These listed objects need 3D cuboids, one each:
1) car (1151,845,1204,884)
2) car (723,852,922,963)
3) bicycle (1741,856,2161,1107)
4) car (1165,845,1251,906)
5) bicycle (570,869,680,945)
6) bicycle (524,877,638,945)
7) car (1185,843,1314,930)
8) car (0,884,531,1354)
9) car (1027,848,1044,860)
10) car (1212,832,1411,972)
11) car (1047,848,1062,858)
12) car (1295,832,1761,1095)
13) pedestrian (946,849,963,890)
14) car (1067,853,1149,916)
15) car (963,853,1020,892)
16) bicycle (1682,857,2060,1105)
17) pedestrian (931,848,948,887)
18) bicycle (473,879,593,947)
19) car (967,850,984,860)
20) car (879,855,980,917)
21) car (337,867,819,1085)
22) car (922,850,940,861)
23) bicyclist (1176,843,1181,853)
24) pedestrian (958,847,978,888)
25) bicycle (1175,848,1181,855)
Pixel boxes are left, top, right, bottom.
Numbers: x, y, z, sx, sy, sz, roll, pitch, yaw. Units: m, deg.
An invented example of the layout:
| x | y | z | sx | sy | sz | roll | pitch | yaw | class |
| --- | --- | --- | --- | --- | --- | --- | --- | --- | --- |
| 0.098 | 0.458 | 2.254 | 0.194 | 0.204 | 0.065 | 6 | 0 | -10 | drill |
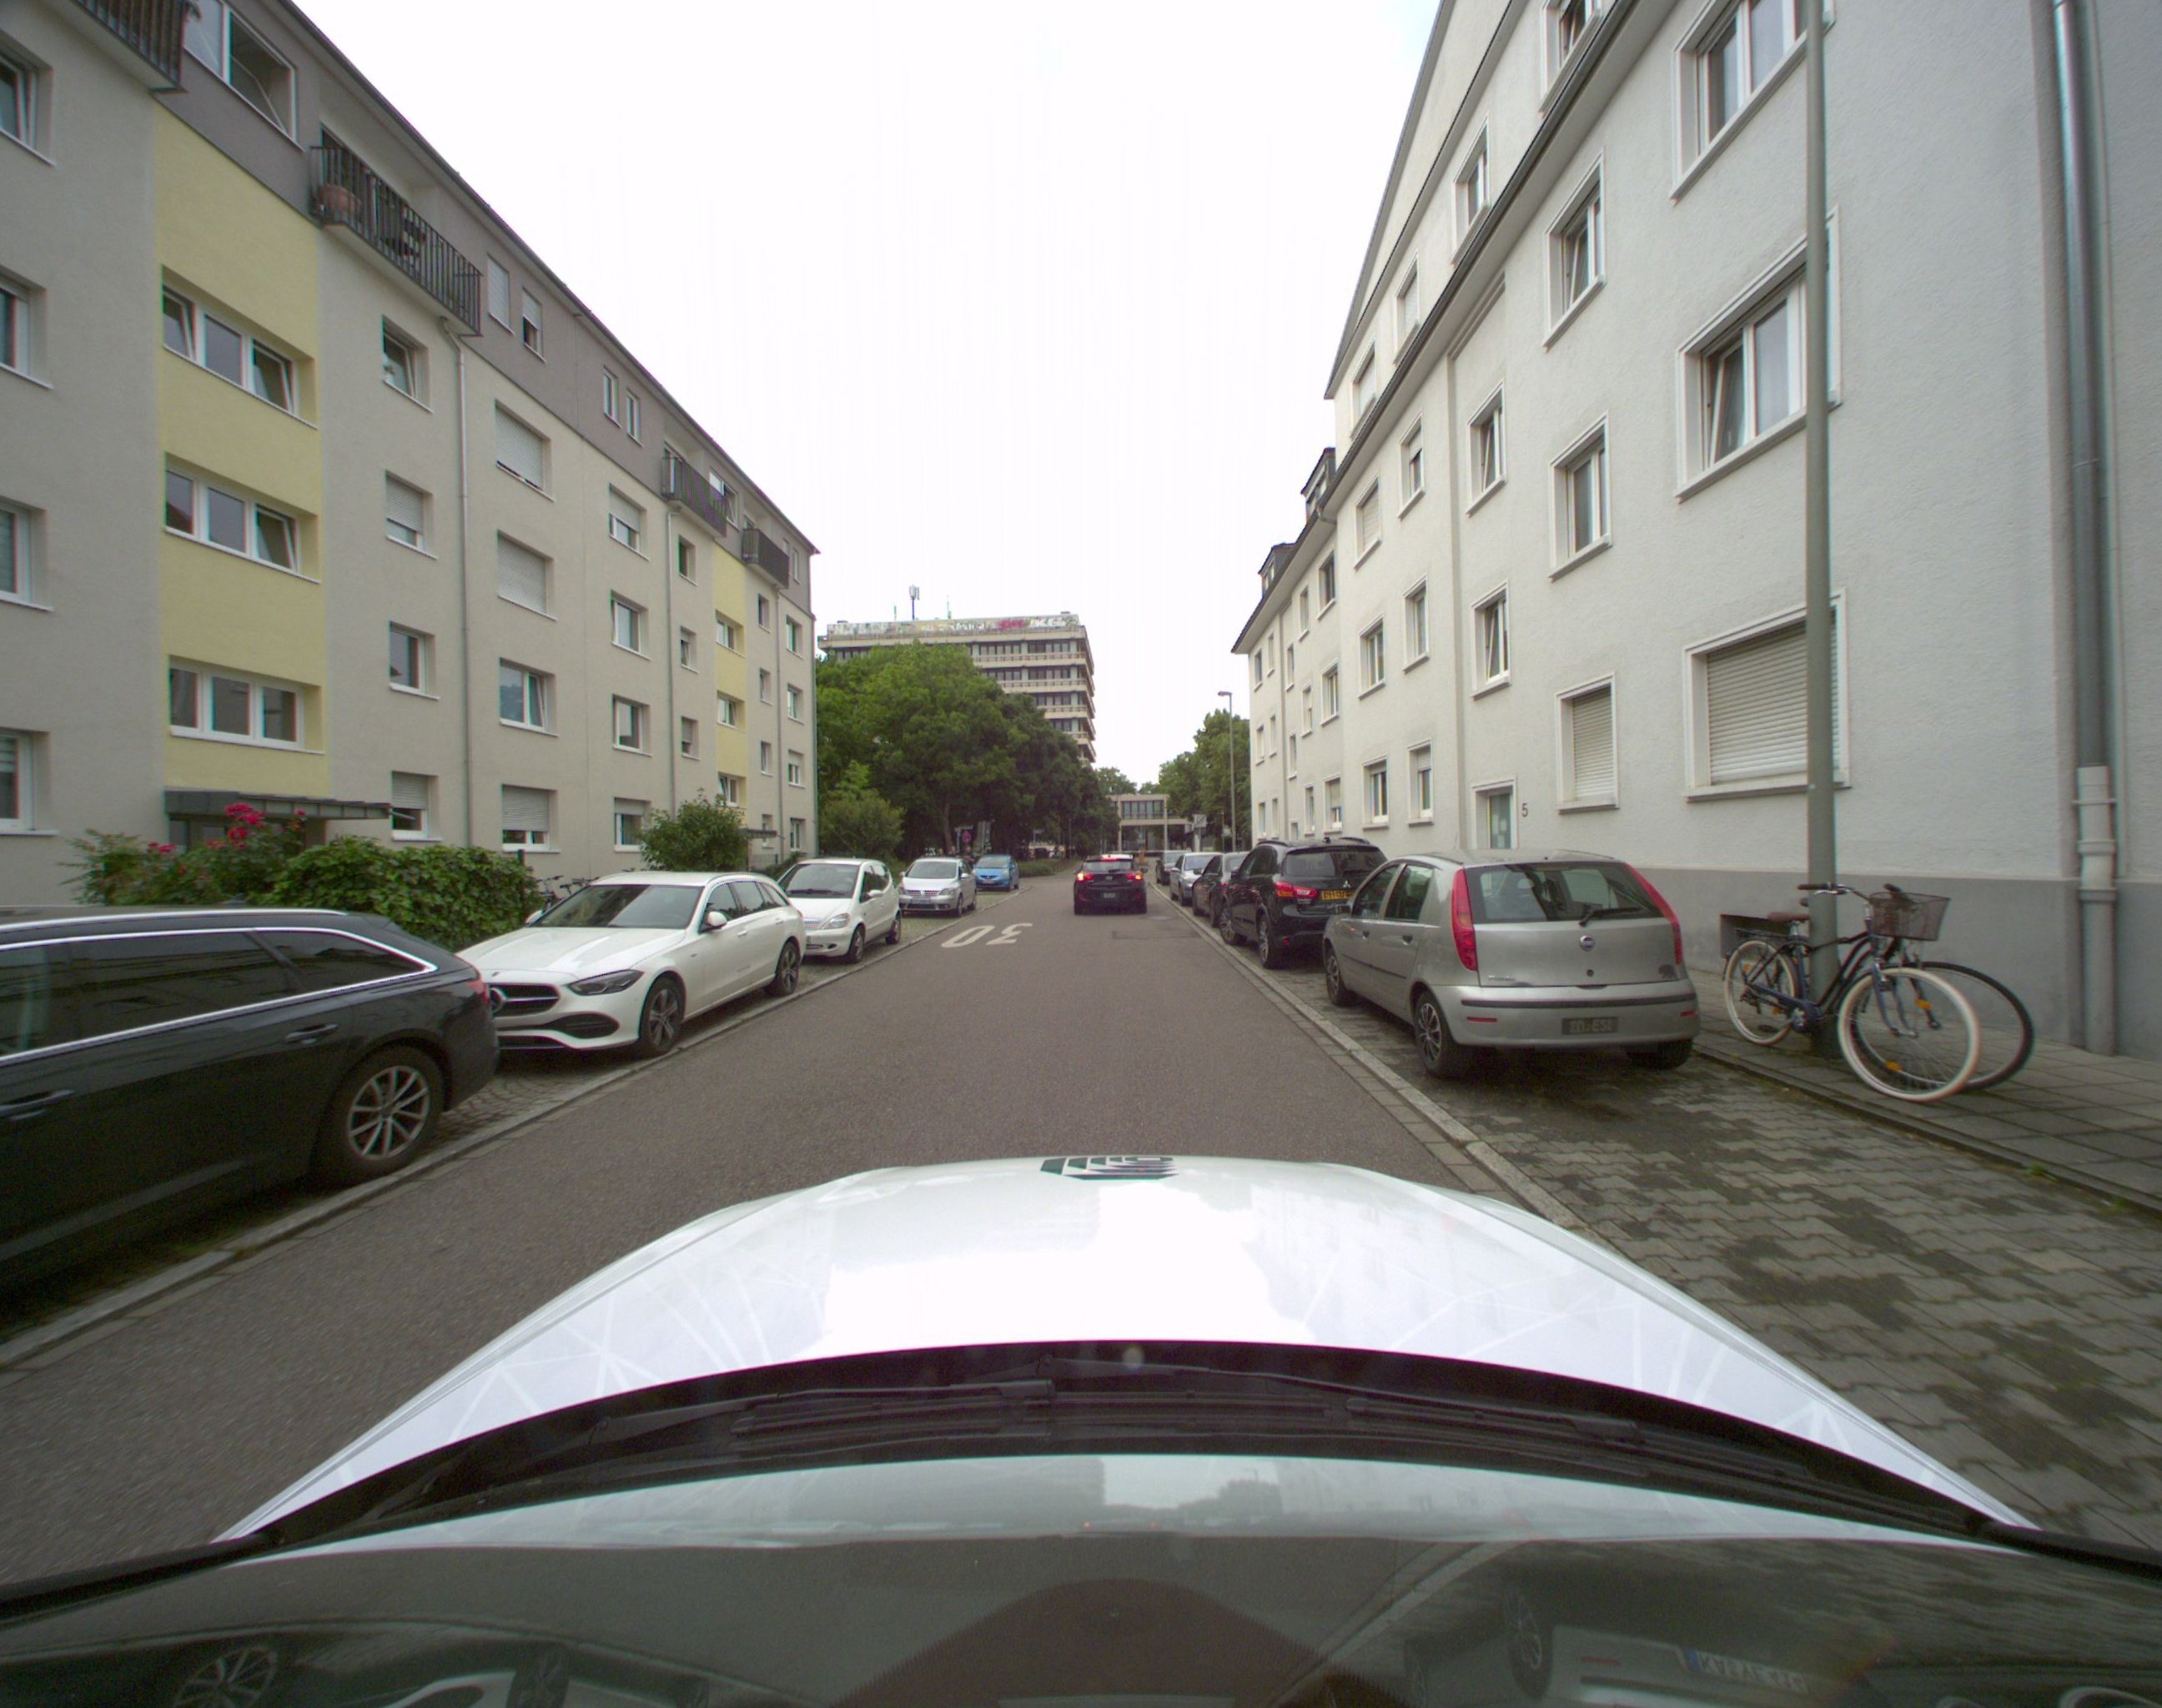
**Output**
| x | y | z | sx | sy | sz | roll | pitch | yaw | class |
| --- | --- | --- | --- | --- | --- | --- | --- | --- | --- |
| 4.096 | 0.404 | 35.161 | 1.813 | 1.519 | 4.675 | -2 | 1 | 2 | car |
| -4.257 | 0.788 | 14.277 | 1.888 | 1.599 | 4.523 | 1 | 0 | 2 | car |
| 5.023 | 0.624 | 4.938 | 0.573 | 1.175 | 2.041 | -2 | 0 | 8 | bicycle |
| 3.515 | 0.539 | 23.262 | 1.813 | 1.519 | 4.675 | -1 | 0 | 2 | car |
| -8.144 | 0.910 | 14.662 | 0.728 | 1.211 | 2.091 | -1 | 0 | 2 | bicycle |
| -9.025 | 0.992 | 14.824 | 0.728 | 1.078 | 2.091 | -1 | 0 | 2 | bicycle |
| 3.327 | 0.579 | 17.006 | 1.814 | 1.519 | 4.675 | -1 | 0 | 1 | car |
| -4.569 | 0.942 | 2.909 | 1.888 | 1.452 | 4.668 | 1 | 0 | 2 | car |
| -5.199 | 0.011 | 93.209 | 1.659 | 1.333 | 3.397 | -1 | 1 | 2 | car |
| 3.026 | 0.551 | 11.583 | 1.813 | 1.603 | 4.094 | -1 | 0 | 3 | car |
| -3.482 | -0.128 | 106.612 | 1.659 | 1.333 | 3.397 | -1 | 1 | 2 | car |
| 3.167 | 0.636 | 6.855 | 1.813 | 1.503 | 4.094 | -2 | 0 | 3 | car |
| -5.741 | 0.704 | 37.105 | 0.602 | 1.831 | 0.676 | -1 | 0 | 4 | pedestrian |
| 0.744 | 0.713 | 21.284 | 1.895 | 1.433 | 4.236 | -2 | 0 | 3 | car |
| -3.748 | 0.747 | 34.800 | 1.987 | 1.541 | 3.999 | 0 | 0 | 0 | car |
| 4.592 | 0.627 | 4.985 | 0.527 | 1.175 | 2.041 | -2 | 0 | 8 | bicycle |
| -6.334 | 0.603 | 36.448 | 0.598 | 1.713 | 0.649 | -1 | 0 | 3 | pedestrian |
| -9.973 | 1.038 | 14.944 | 0.728 | 1.078 | 2.091 | -1 | 0 | 2 | bicycle |
| -13.886 | 0.127 | 107.006 | 1.659 | 1.333 | 3.397 | -1 | 1 | 2 | car |
| -4.081 | 0.813 | 22.587 | 1.987 | 1.541 | 4.000 | 0 | 0 | 1 | car |
| -4.340 | 0.911 | 8.105 | 1.888 | 1.452 | 4.522 | 1 | 0 | 1 | car |
| -19.774 | 0.215 | 107.500 | 1.659 | 1.333 | 3.397 | -1 | 1 | 2 | car |
| 13.979 | -0.841 | 116.976 | 0.690 | 1.444 | 0.796 | -1 | 0 | 3 | bicyclist |
| -5.092 | 0.609 | 36.858 | 0.711 | 1.831 | 0.798 | -1 | 0 | 4 | pedestrian |
| 13.975 | -0.406 | 116.945 | 0.690 | 0.997 | 1.736 | -1 | 0 | 3 | bicycle |
